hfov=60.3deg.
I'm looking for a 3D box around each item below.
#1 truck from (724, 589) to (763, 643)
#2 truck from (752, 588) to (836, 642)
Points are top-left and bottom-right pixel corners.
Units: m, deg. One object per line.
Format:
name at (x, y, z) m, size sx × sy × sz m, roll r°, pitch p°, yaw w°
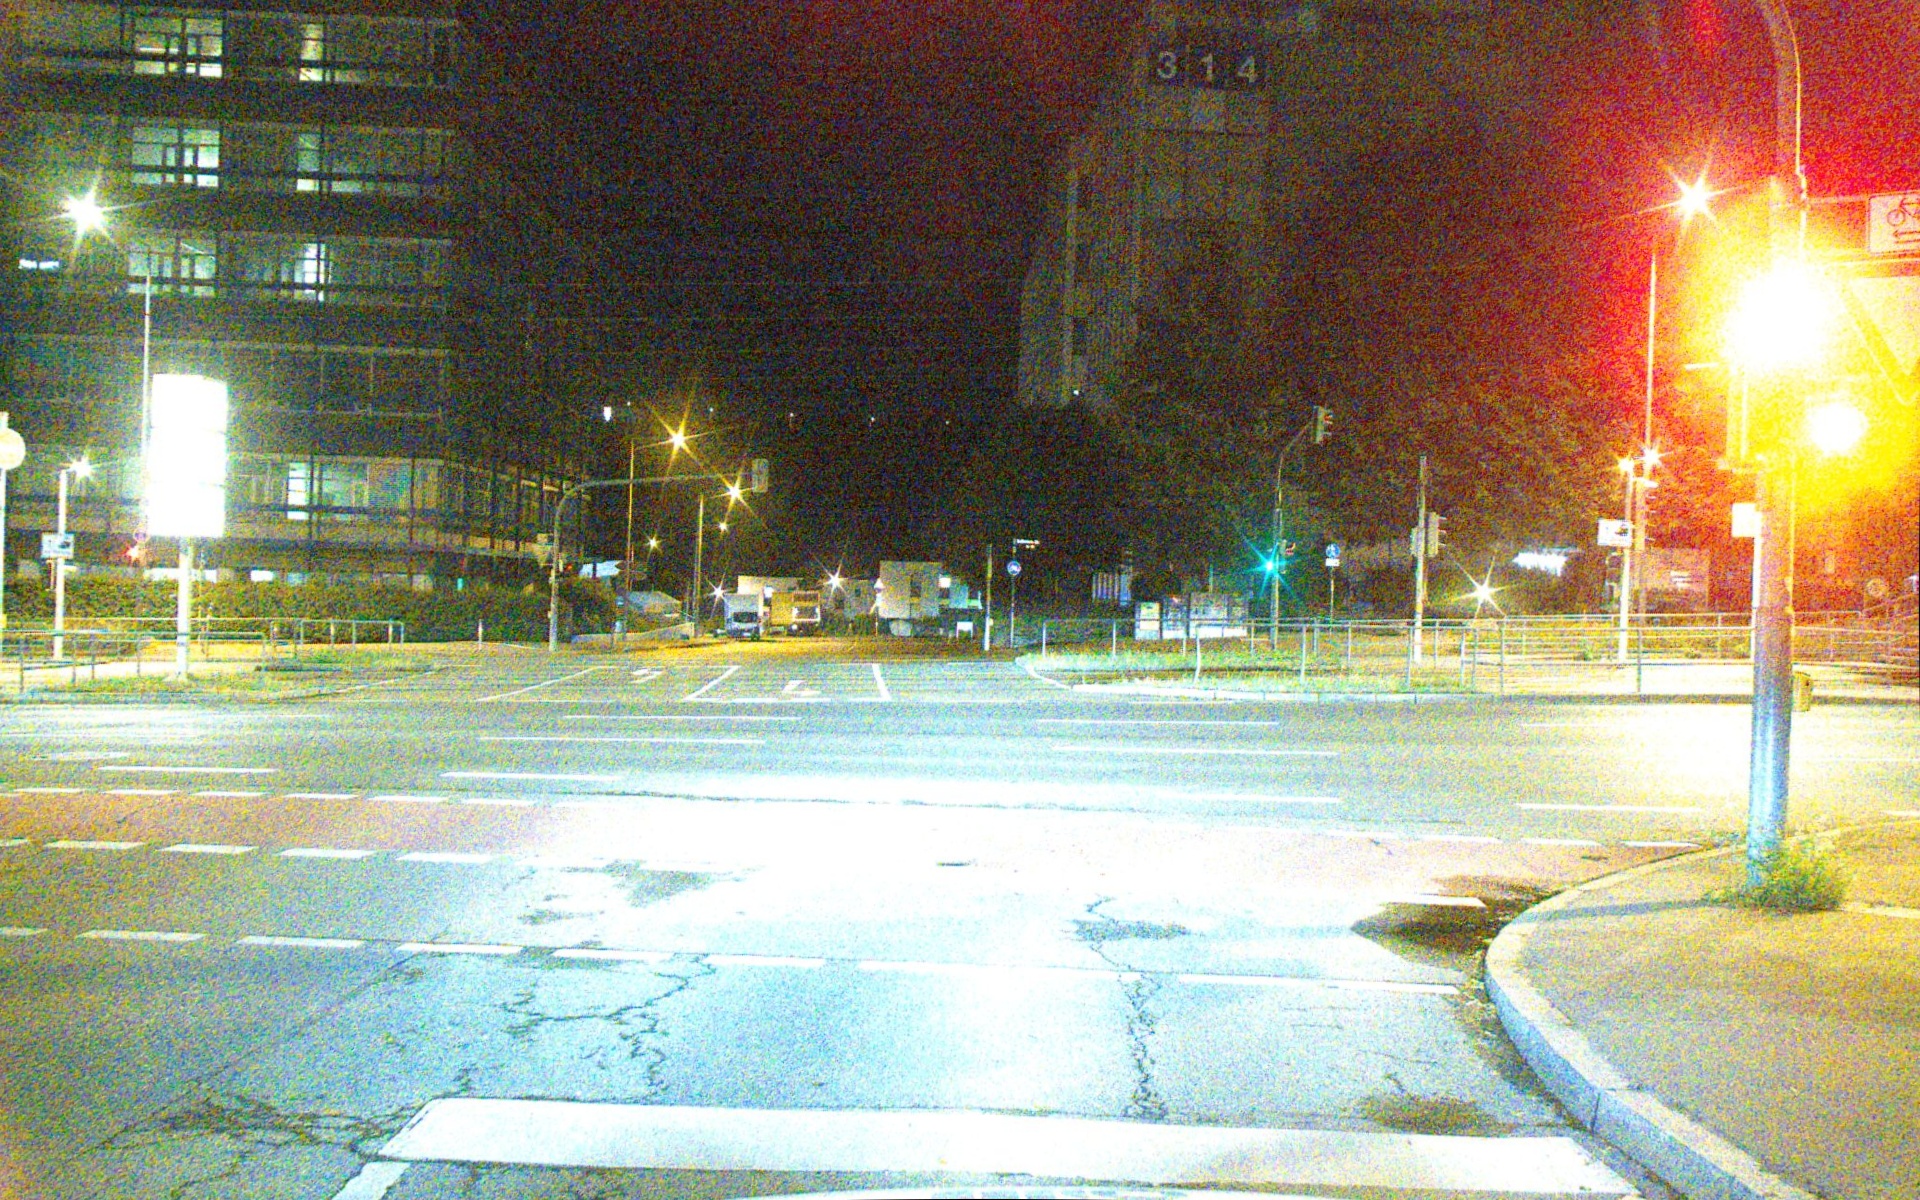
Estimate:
truck at (-15.625, 1.135, 119.112) m, size 2.535 × 3.772 × 5.724 m, roll 1°, pitch 0°, yaw -9°
truck at (-15.288, 1.298, 150.978) m, size 4.751 × 4.627 × 12.593 m, roll 1°, pitch 0°, yaw -19°
